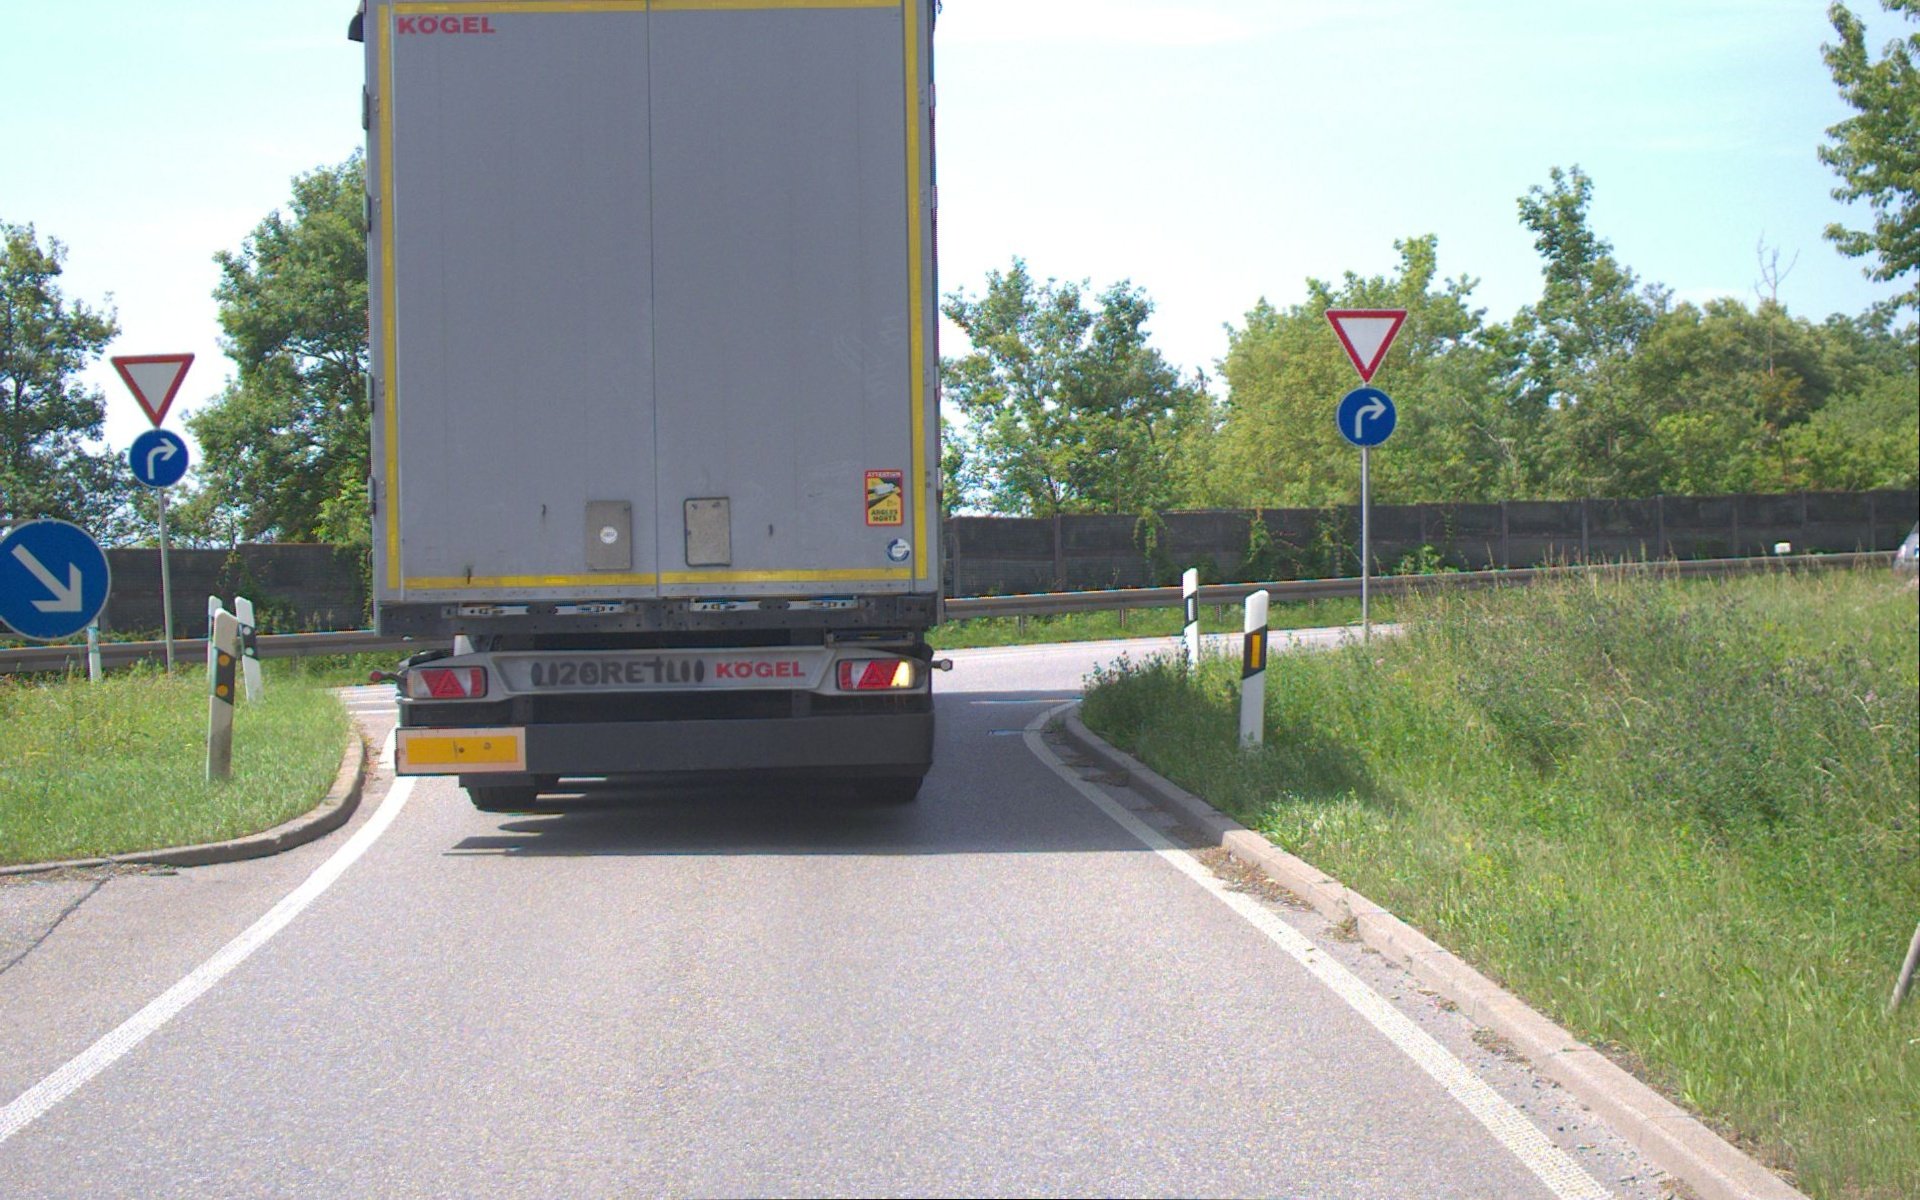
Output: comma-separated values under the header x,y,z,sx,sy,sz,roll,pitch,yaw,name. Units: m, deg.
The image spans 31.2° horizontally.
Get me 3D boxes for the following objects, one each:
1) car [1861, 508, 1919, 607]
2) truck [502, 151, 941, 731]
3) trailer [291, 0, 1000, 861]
x,y,z,sx,sy,sz,roll,pitch,yaw,name
15.798,-0.708,53.200,3.989,1.481,1.670,-3,1,-42,car
-1.875,-1.207,28.751,3.152,4.210,7.123,-1,1,-2,truck
-1.620,-1.002,21.755,3.027,4.021,13.353,-1,1,-2,trailer
